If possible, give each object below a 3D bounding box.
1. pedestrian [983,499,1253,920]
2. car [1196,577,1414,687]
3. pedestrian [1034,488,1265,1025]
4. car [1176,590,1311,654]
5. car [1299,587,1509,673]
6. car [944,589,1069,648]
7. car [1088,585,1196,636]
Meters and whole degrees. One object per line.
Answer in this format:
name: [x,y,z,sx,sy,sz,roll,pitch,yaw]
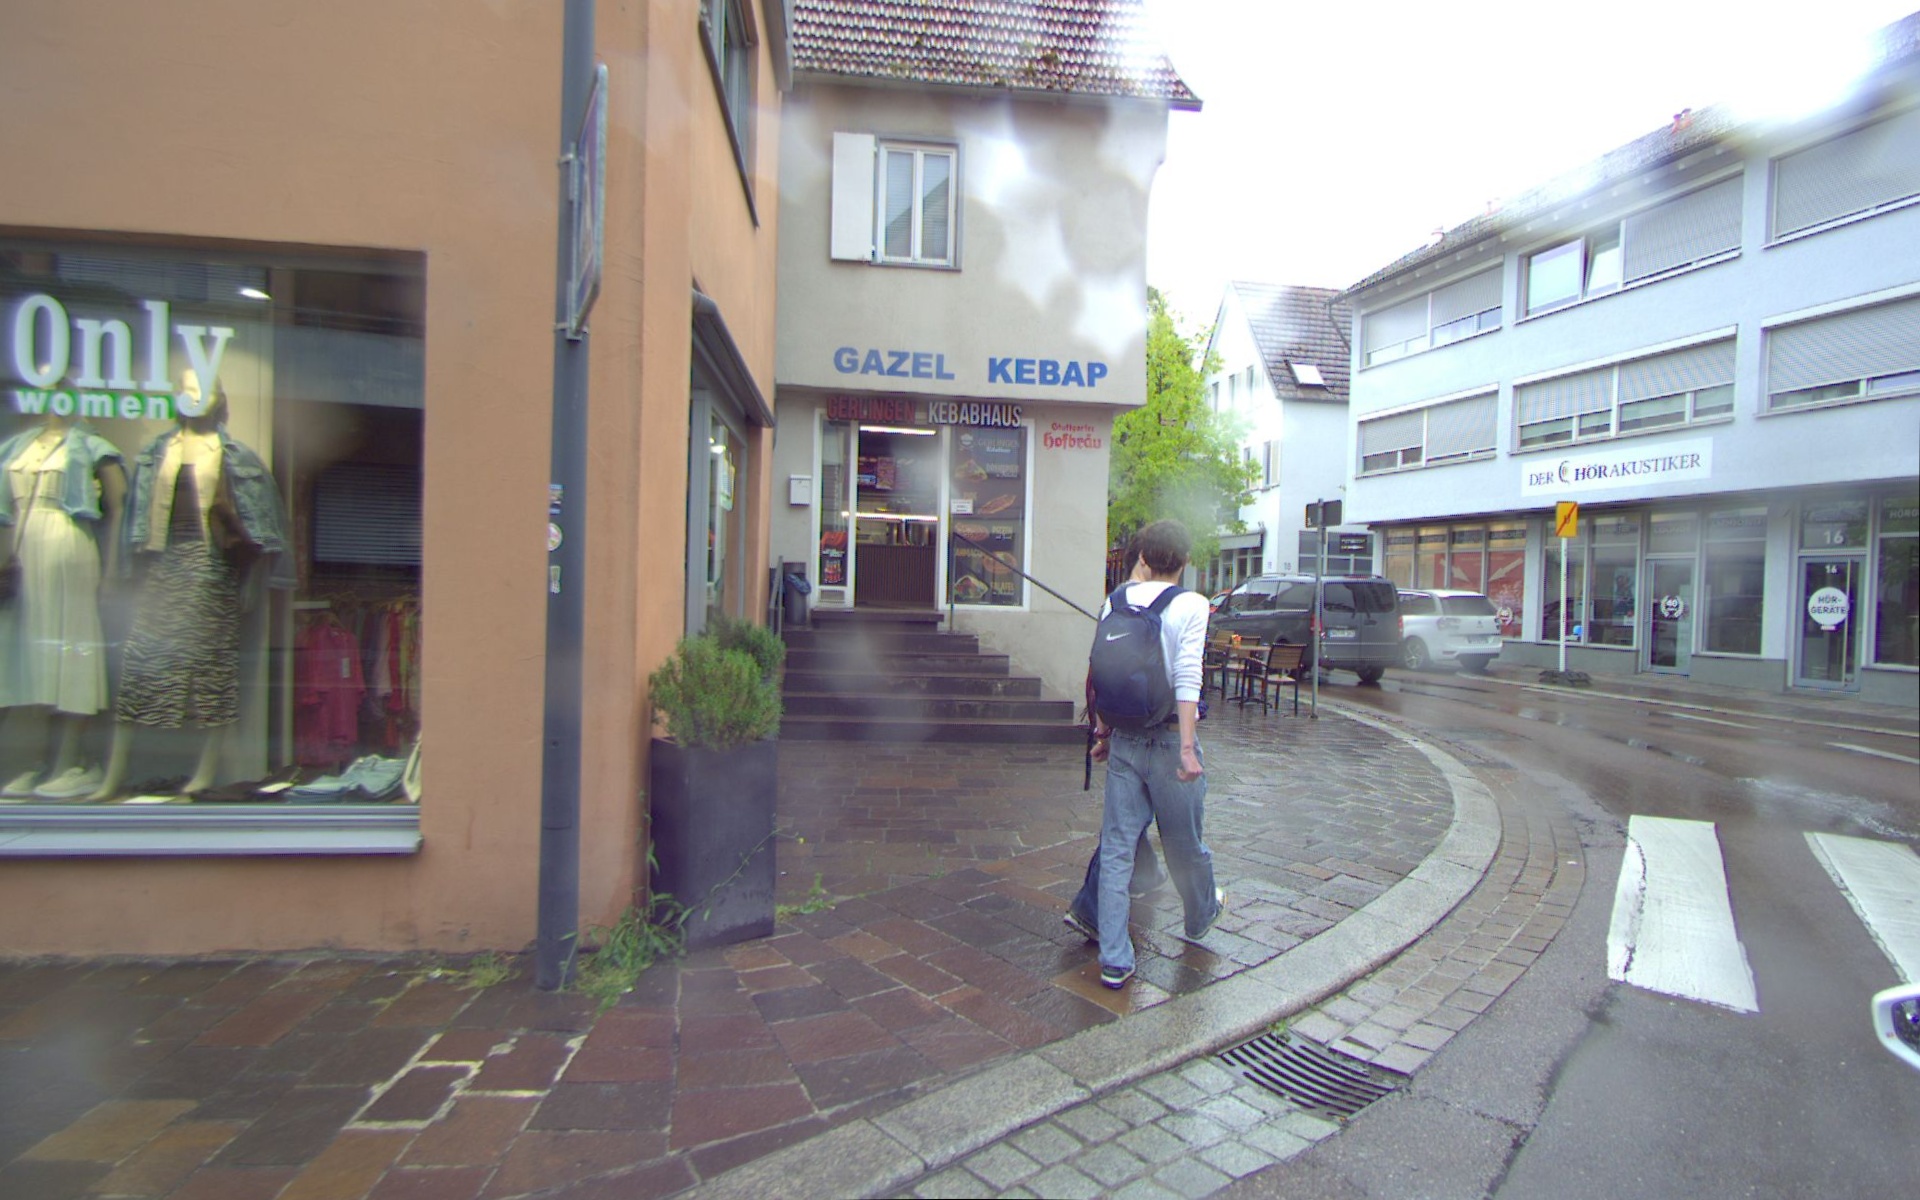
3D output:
pedestrian: [0.748,0.485,4.860,1.043,1.824,0.691,2,0,-22]
car: [6.466,0.498,19.510,1.918,1.805,4.716,0,2,-10]
pedestrian: [0.803,0.532,4.040,0.653,1.831,1.060,2,0,23]
car: [7.538,0.525,27.061,1.656,1.549,3.783,0,1,-19]
car: [9.451,0.565,21.787,1.668,1.634,4.205,0,1,-21]
car: [1.242,0.482,28.654,1.706,1.433,3.950,3,0,-28]
car: [5.811,0.307,32.523,1.772,1.515,3.844,2,0,-19]
